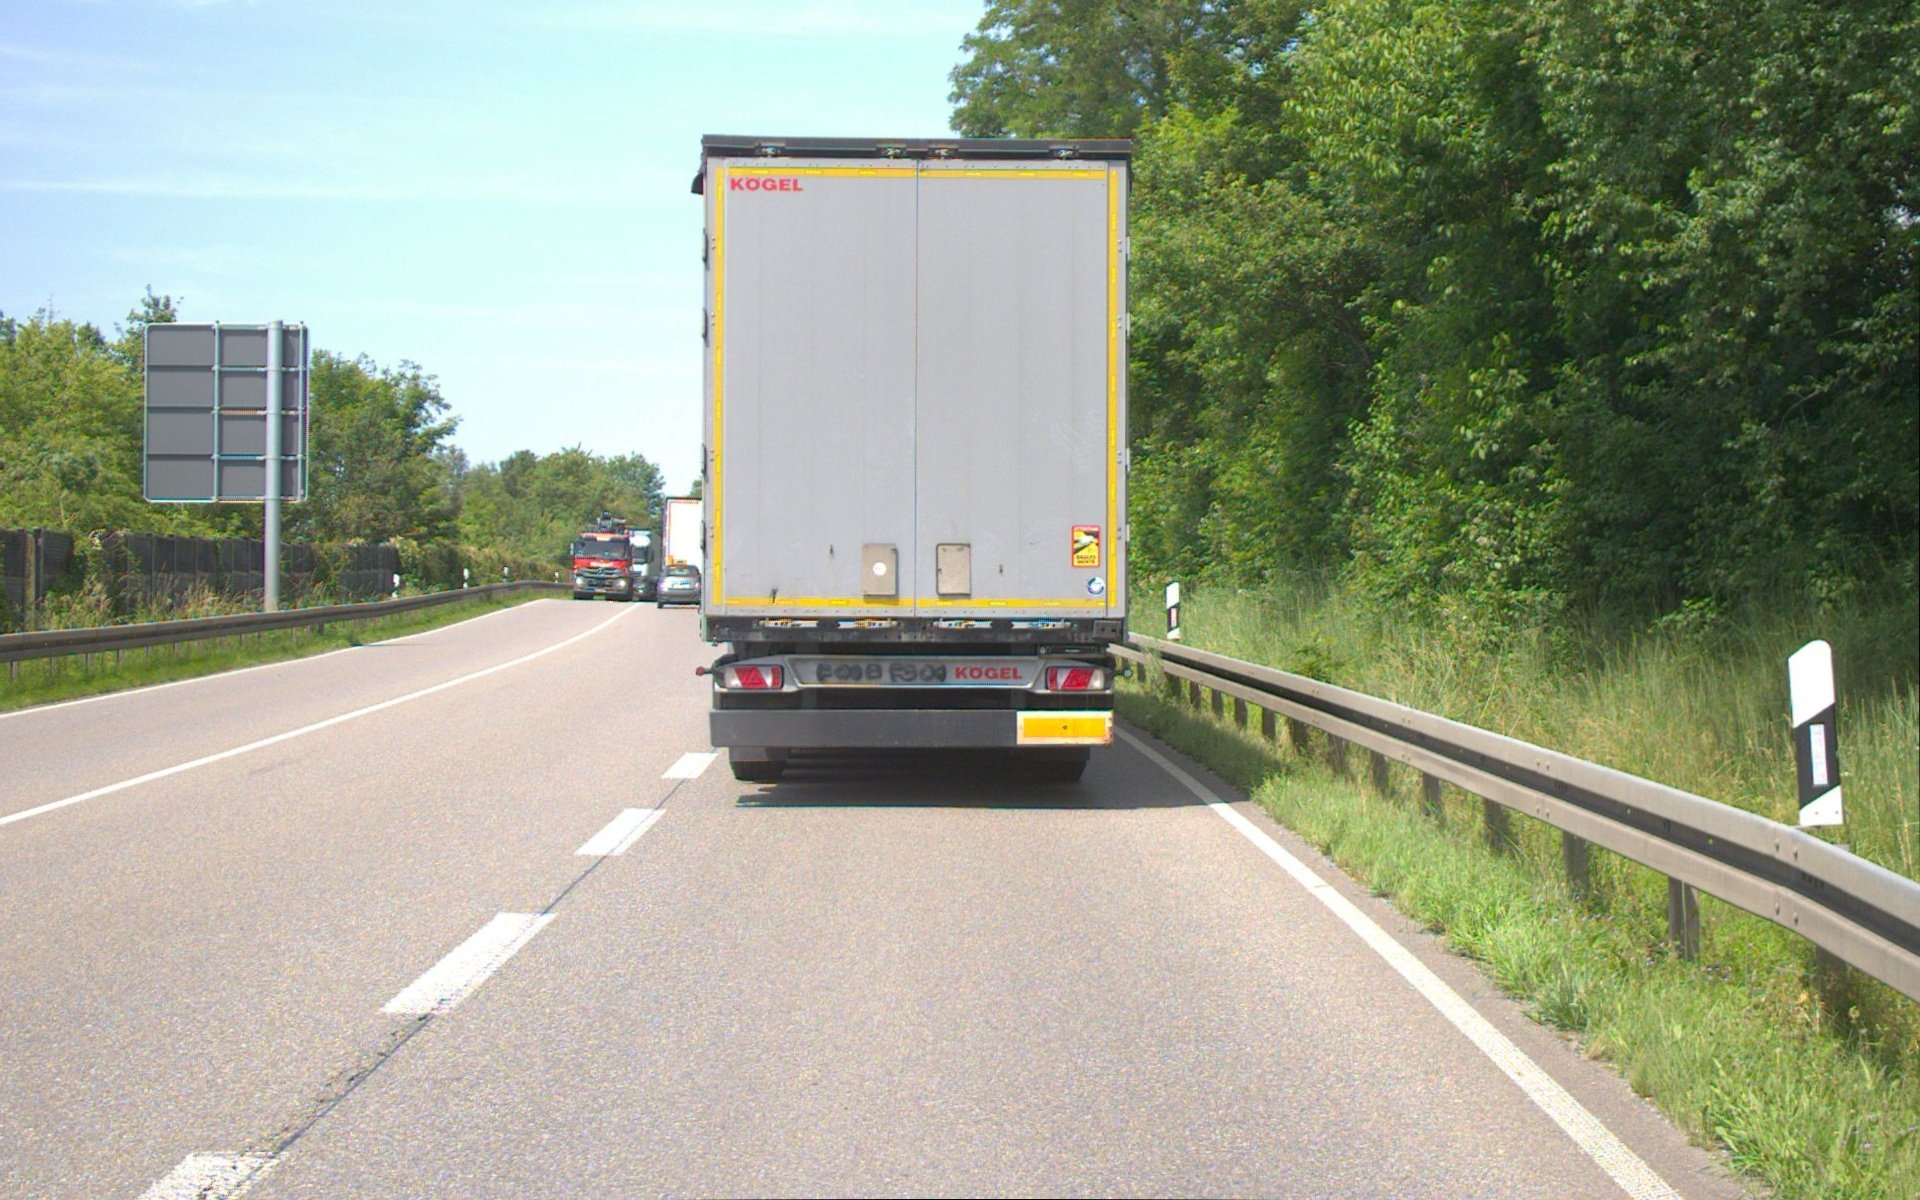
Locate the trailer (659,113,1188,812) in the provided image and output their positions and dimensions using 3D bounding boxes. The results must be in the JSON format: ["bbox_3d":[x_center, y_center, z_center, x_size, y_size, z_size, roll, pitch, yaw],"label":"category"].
[{"bbox_3d":[-0.165,-0.849,26.525,3.027,4.021,13.352,0,0,0],"label":"trailer"}]

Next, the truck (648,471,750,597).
[{"bbox_3d":[-10.375,-2.547,137.560,3.828,4.728,16.205,0,0,-4],"label":"truck"}]

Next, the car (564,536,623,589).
[{"bbox_3d":[-17.104,-1.756,160.216,2.615,2.415,5.830,-1,1,-6],"label":"car"}]

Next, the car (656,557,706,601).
[{"bbox_3d":[-9.539,-0.728,117.566,1.666,1.481,4.001,1,1,-4],"label":"car"}]

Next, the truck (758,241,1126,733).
[{"bbox_3d":[-0.113,-0.982,33.037,3.153,4.210,7.122,0,0,1],"label":"truck"}]
